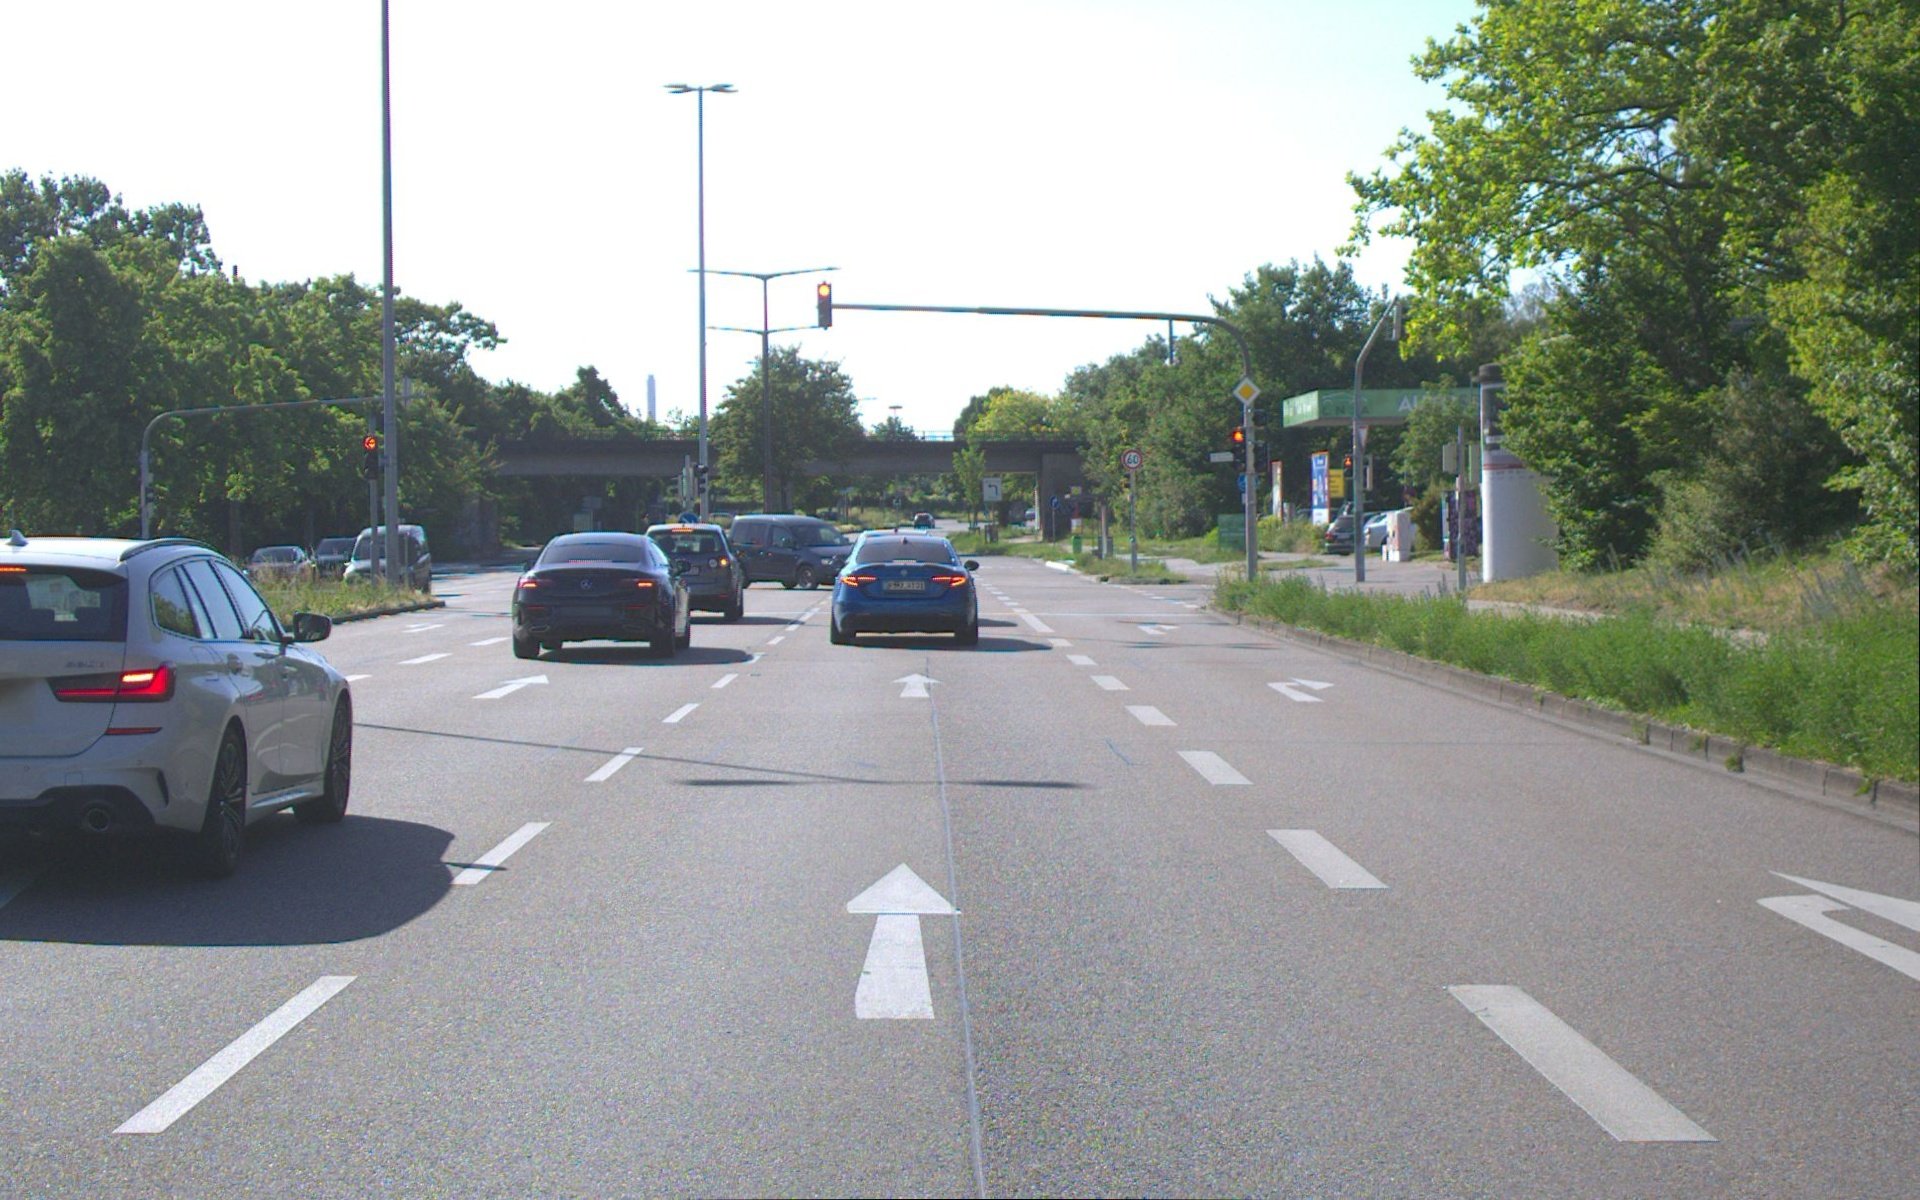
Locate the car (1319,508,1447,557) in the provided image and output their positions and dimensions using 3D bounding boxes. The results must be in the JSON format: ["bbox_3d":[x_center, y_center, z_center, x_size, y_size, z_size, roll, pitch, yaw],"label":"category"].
[{"bbox_3d":[13.980,-2.232,113.783,3.987,1.547,2.000,1,0,1],"label":"car"}]

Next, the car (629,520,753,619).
[{"bbox_3d":[-4.393,-0.507,56.565,1.812,1.546,4.354,1,1,-2],"label":"car"}]

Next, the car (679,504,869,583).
[{"bbox_3d":[-4.566,-1.378,84.110,4.591,1.869,1.814,1,2,39],"label":"car"}]

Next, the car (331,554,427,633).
[{"bbox_3d":[-14.062,-0.174,83.373,1.677,1.841,4.295,1,1,-1],"label":"car"}]

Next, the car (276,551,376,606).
[{"bbox_3d":[-21.051,-0.736,114.236,1.803,1.720,4.320,1,1,11],"label":"car"}]

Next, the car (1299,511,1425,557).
[{"bbox_3d":[14.329,-2.343,122.533,3.986,1.547,2.001,1,1,-17],"label":"car"}]

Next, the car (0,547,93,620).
[{"bbox_3d":[-23.944,-0.419,86.302,1.998,1.807,3.764,1,1,37],"label":"car"}]

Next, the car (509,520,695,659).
[{"bbox_3d":[-4.180,-0.162,40.734,1.812,1.546,4.544,0,1,-1],"label":"car"}]

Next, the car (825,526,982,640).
[{"bbox_3d":[-0.702,-0.231,45.242,1.910,1.418,3.719,1,1,1],"label":"car"}]

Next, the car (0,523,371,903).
[{"bbox_3d":[-3.985,0.414,15.777,1.812,1.481,4.596,1,1,-1],"label":"car"}]
